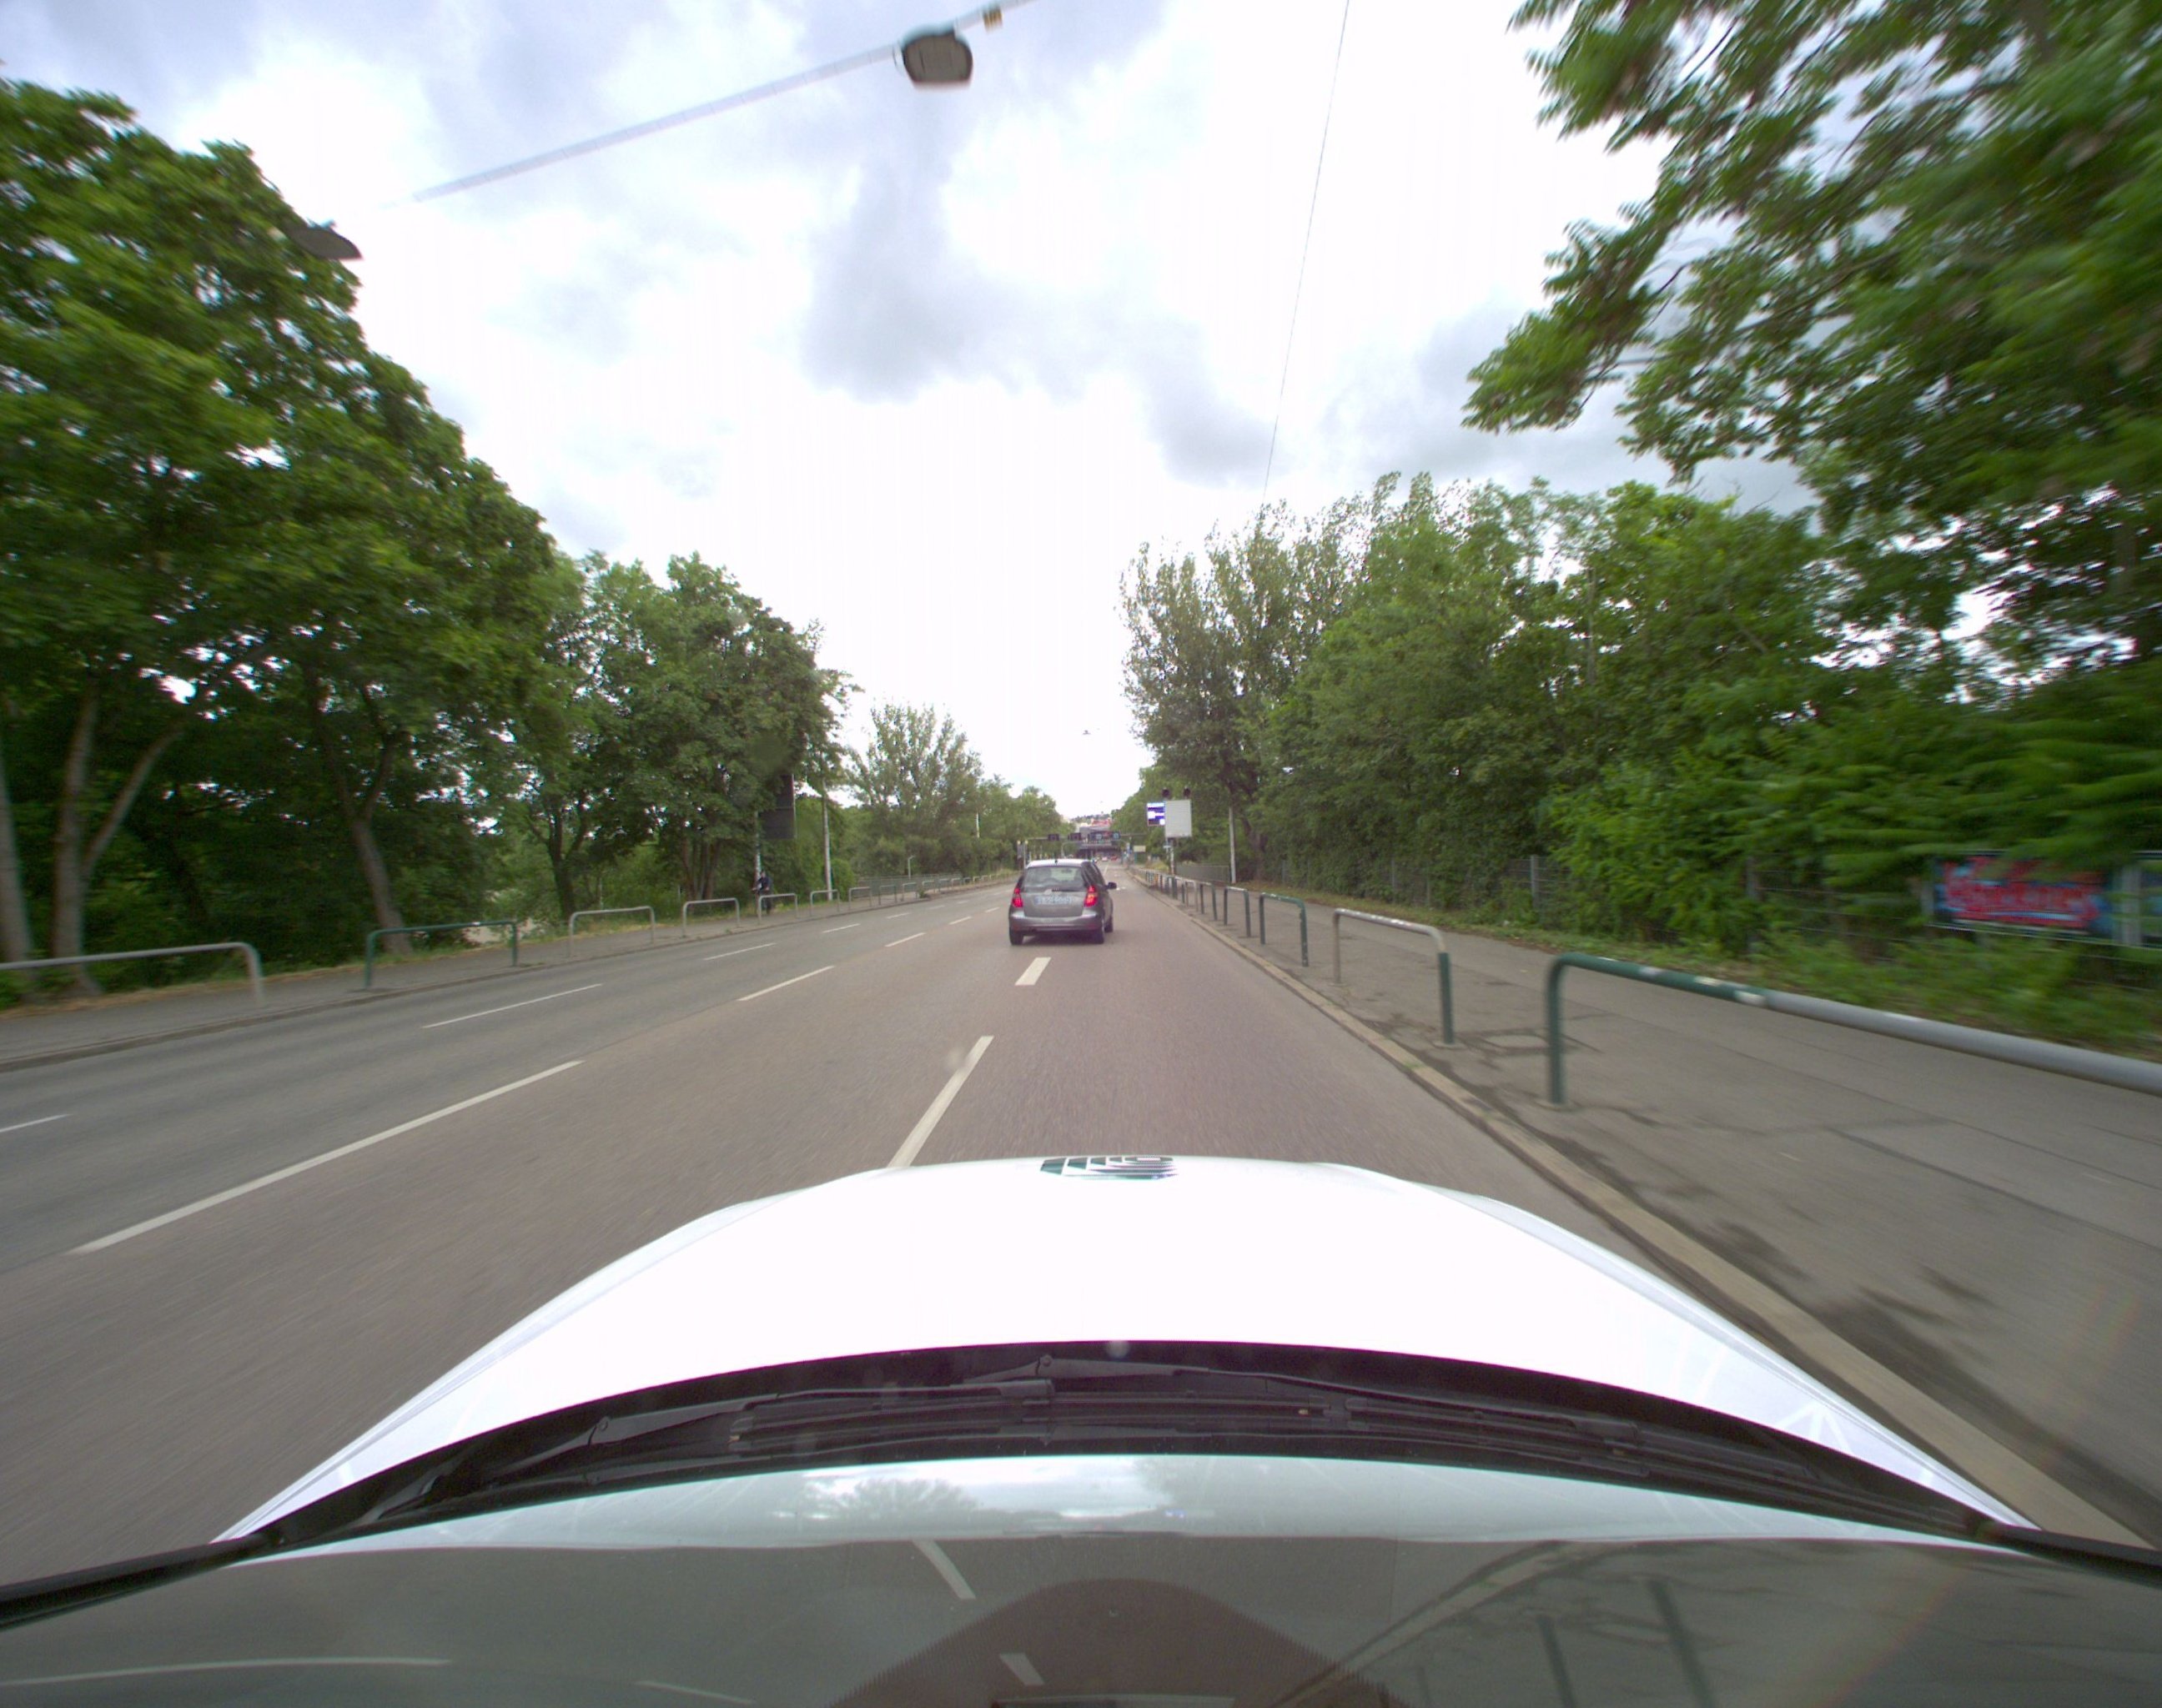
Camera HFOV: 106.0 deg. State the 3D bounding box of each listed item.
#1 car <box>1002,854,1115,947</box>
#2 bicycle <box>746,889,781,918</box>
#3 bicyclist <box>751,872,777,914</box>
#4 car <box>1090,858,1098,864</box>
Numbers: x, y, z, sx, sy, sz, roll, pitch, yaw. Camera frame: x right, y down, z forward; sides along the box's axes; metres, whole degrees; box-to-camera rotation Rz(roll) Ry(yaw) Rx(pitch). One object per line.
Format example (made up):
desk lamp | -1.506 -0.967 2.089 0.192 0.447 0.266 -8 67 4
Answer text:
car | -0.321 0.851 16.436 1.818 1.616 4.039 -1 -1 5
bicycle | -12.035 1.859 30.927 0.483 1.002 2.002 -3 -1 1
bicyclist | -12.047 1.462 30.931 0.513 1.516 0.984 -3 -1 1
car | 4.165 2.206 256.831 1.984 1.660 4.523 -4 -1 5
